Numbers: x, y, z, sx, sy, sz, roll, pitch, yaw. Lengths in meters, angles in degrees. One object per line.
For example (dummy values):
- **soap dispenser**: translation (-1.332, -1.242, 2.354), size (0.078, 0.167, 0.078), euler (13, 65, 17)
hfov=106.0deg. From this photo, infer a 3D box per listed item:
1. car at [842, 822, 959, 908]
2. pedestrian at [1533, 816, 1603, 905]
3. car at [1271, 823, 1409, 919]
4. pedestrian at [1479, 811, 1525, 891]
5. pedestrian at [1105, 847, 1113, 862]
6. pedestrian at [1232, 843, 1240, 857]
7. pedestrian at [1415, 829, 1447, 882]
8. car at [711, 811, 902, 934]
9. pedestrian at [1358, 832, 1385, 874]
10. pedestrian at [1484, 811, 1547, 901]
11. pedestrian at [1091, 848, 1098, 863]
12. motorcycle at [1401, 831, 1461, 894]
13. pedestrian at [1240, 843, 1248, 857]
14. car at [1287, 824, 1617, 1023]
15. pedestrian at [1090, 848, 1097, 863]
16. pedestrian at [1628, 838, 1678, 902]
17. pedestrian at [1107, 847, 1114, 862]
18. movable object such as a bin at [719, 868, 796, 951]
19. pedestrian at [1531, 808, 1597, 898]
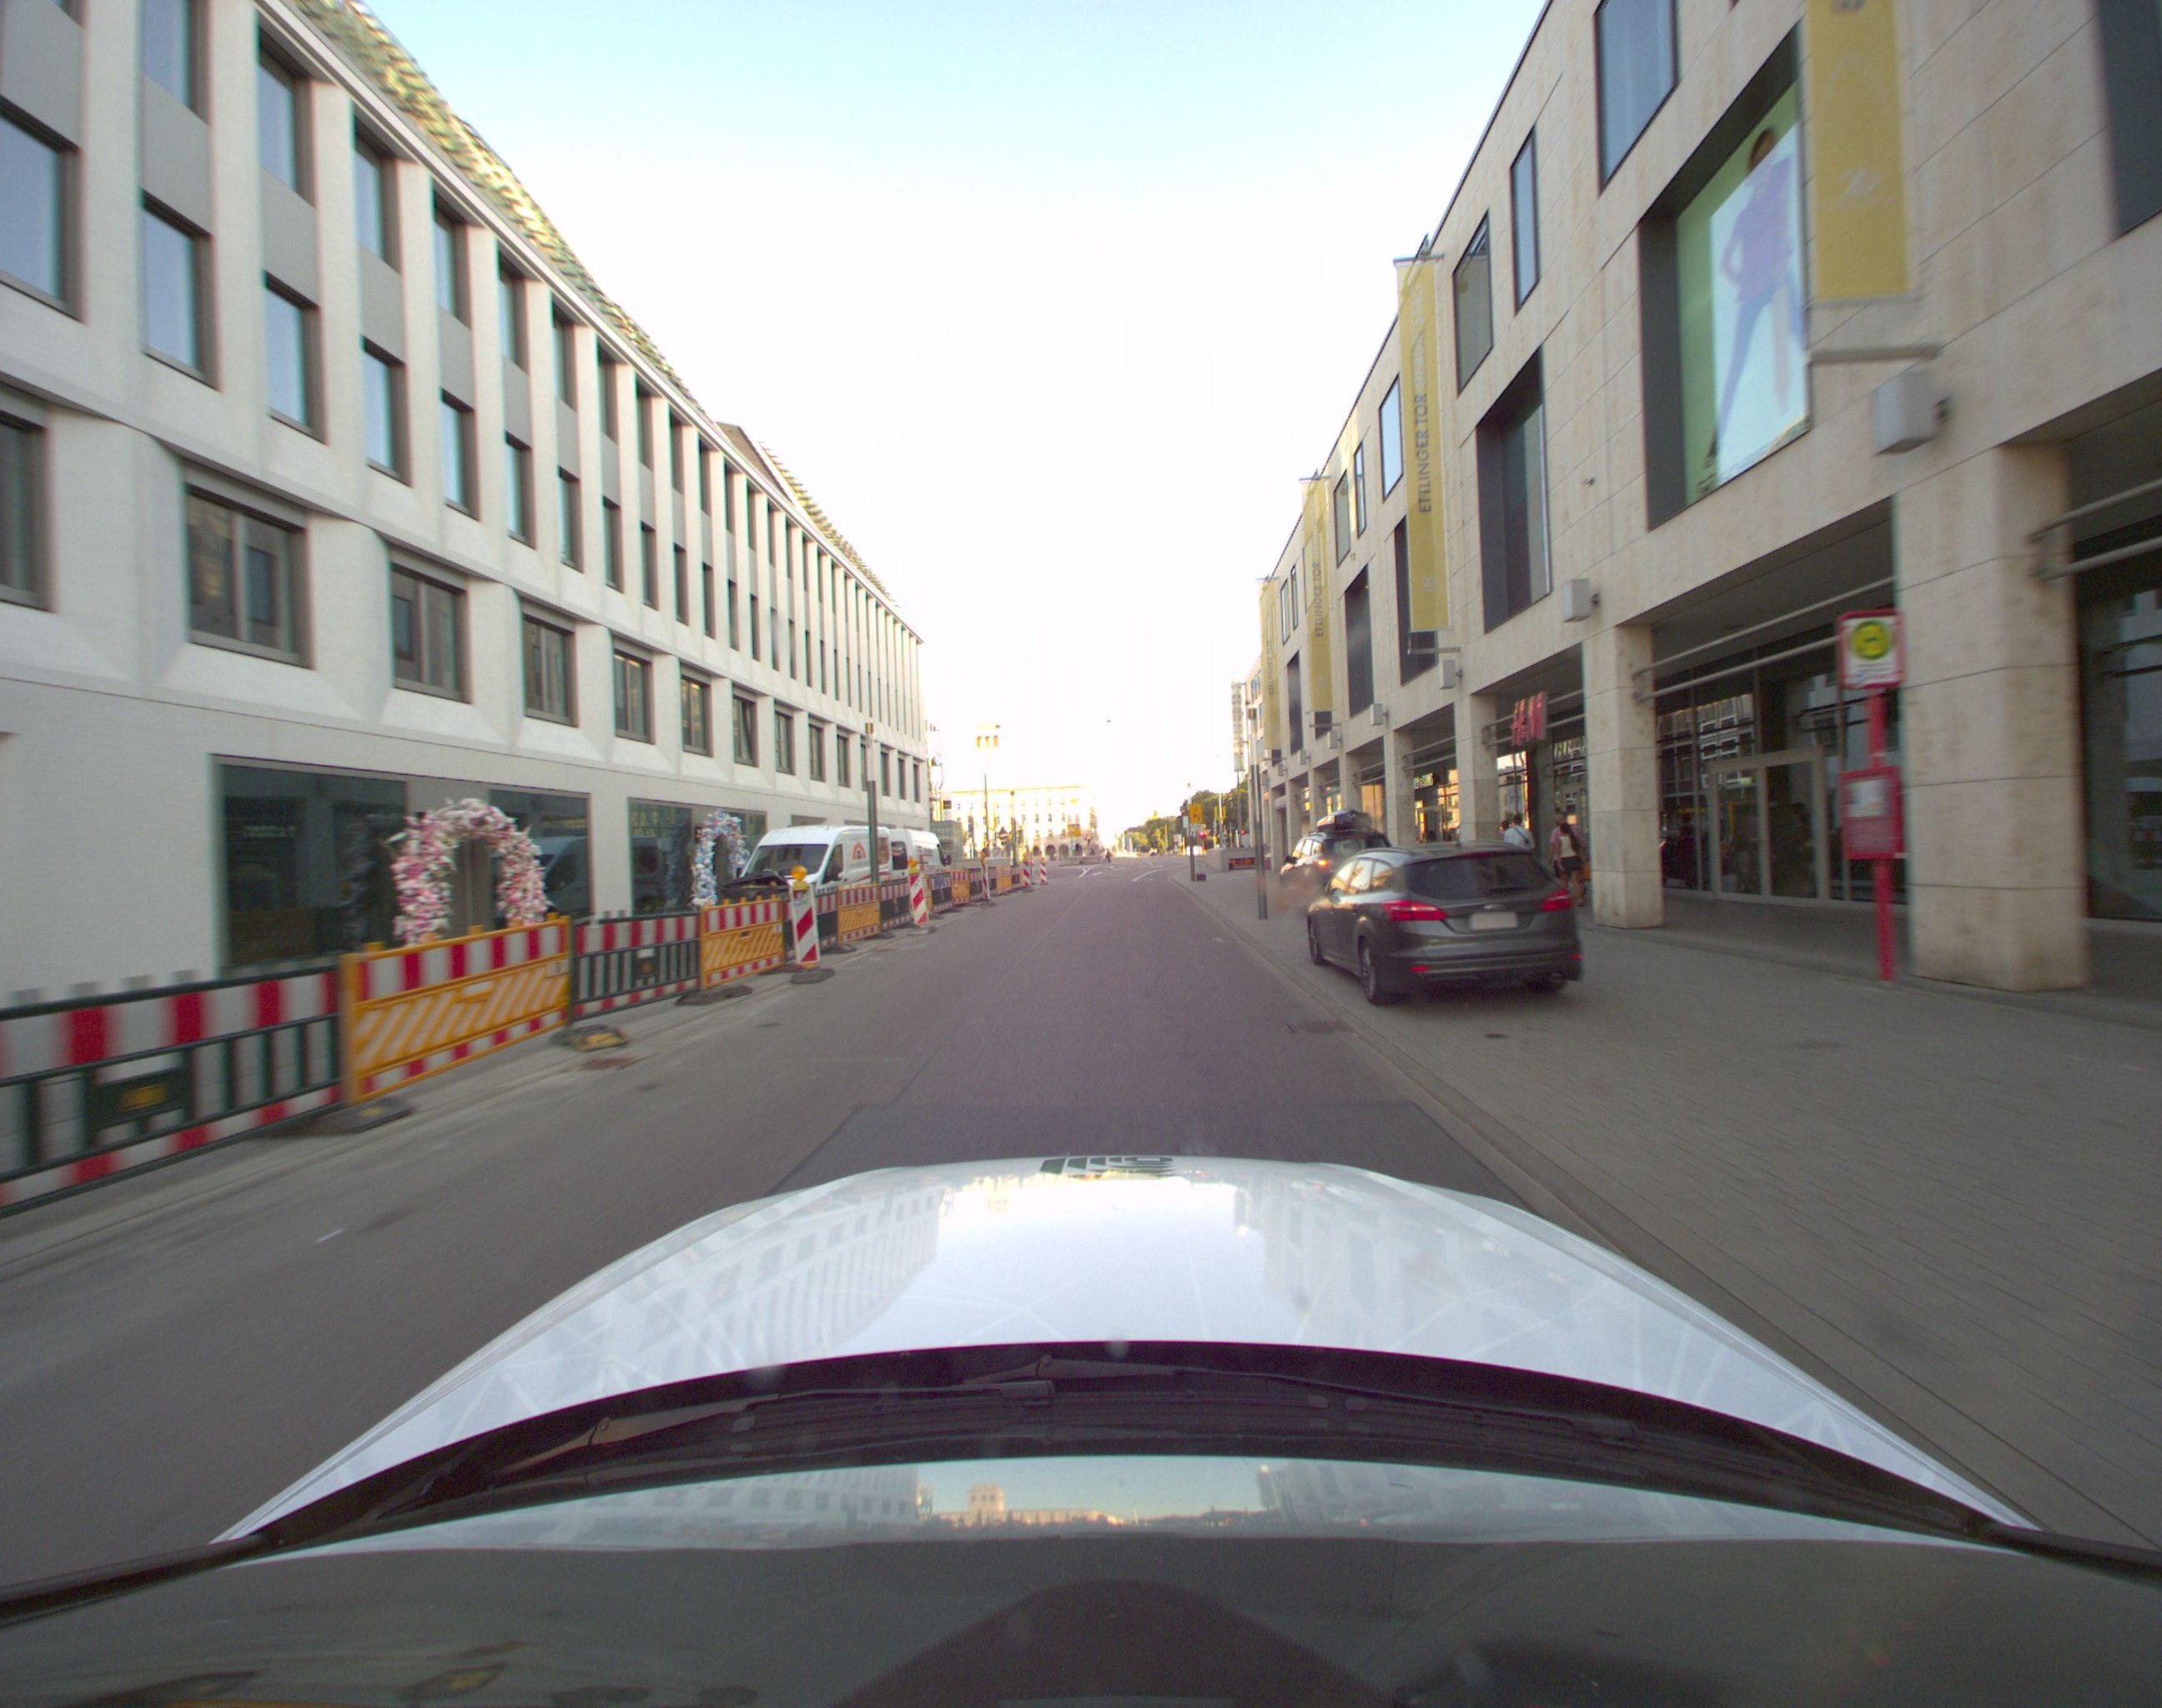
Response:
- **car**: translation (-5.808, 0.317, 27.193), size (2.164, 2.470, 6.005), euler (-2, 0, 3)
- **pedestrian**: translation (8.954, 0.102, 14.997), size (0.761, 1.567, 0.877), euler (-2, 2, 3)
- **car**: translation (5.318, 0.310, 17.288), size (1.760, 1.637, 4.062), euler (-5, 0, 4)
- **pedestrian**: translation (9.261, -0.065, 17.928), size (0.588, 1.698, 0.696), euler (-2, 0, 1)
- **pedestrian**: translation (3.270, 0.070, 95.432), size (0.736, 1.776, 0.863), euler (-4, 0, -1)
- **pedestrian**: translation (20.570, -0.514, 108.125), size (0.856, 1.776, 0.742), euler (-5, 0, 5)
- **pedestrian**: translation (10.550, 0.030, 24.563), size (0.631, 1.567, 0.776), euler (-2, 2, 3)
- **car**: translation (-6.307, 0.362, 19.748), size (2.164, 2.470, 6.006), euler (-2, 0, 4)
- **pedestrian**: translation (10.761, -0.039, 30.172), size (0.721, 1.542, 0.729), euler (-2, 0, 3)
- **pedestrian**: translation (8.464, 0.030, 15.897), size (0.761, 1.681, 0.877), euler (-2, 2, 3)
- **pedestrian**: translation (1.674, 0.163, 99.048), size (0.736, 1.776, 0.864), euler (-5, 0, 1)
- **motorcycle**: translation (8.382, 0.189, 19.605), size (0.689, 1.416, 2.139), euler (-2, 0, 6)
- **pedestrian**: translation (21.500, -0.546, 107.400), size (0.752, 1.776, 0.742), euler (-5, 0, 5)
- **car**: translation (3.580, 0.569, 8.817), size (1.787, 1.490, 4.197), euler (-5, 0, 4)
- **pedestrian**: translation (1.496, 0.183, 97.832), size (0.736, 1.776, 0.863), euler (-5, 0, 1)
- **pedestrian**: translation (10.316, 0.274, 14.693), size (0.485, 1.097, 0.602), euler (-2, 2, 3)
- **pedestrian**: translation (3.528, 0.029, 96.174), size (0.735, 1.777, 0.864), euler (-1, 0, 4)
- **movable object such as a bin**: translation (-6.167, 1.024, 15.619), size (1.043, 1.466, 1.390), euler (-2, 0, -8)
- **pedestrian**: translation (9.464, -0.031, 15.993), size (0.761, 1.681, 0.877), euler (-2, 2, 3)
